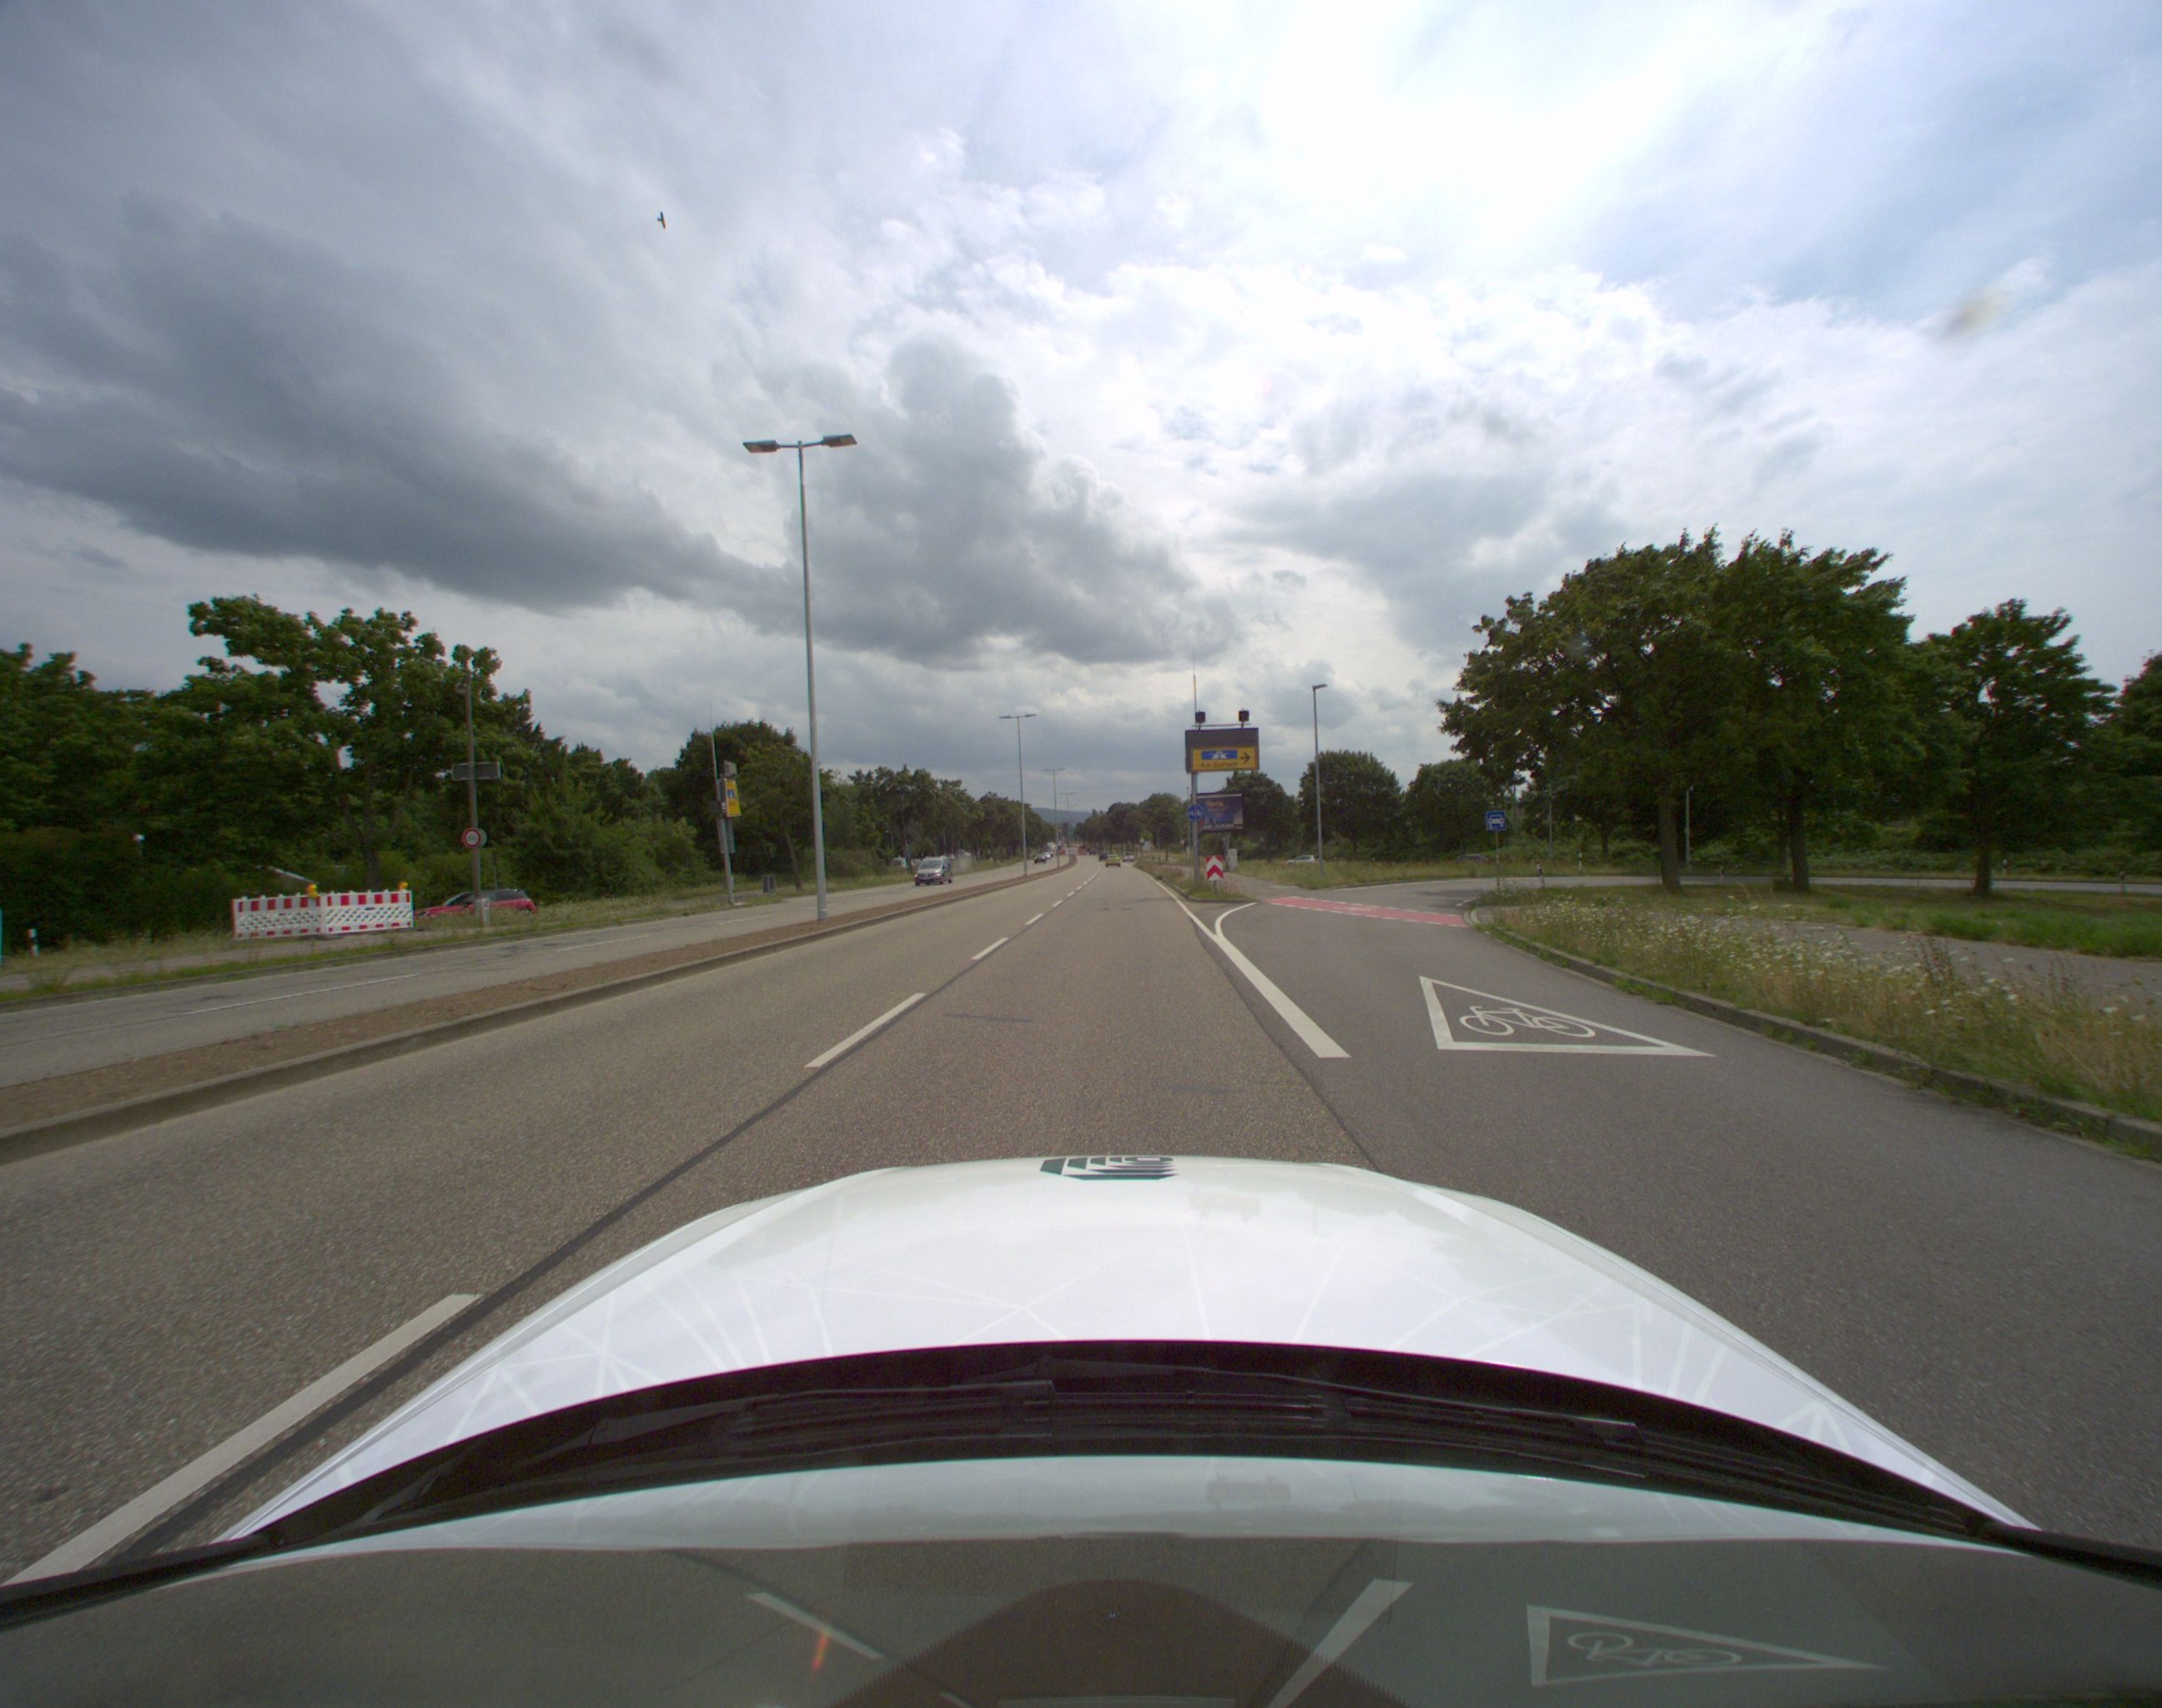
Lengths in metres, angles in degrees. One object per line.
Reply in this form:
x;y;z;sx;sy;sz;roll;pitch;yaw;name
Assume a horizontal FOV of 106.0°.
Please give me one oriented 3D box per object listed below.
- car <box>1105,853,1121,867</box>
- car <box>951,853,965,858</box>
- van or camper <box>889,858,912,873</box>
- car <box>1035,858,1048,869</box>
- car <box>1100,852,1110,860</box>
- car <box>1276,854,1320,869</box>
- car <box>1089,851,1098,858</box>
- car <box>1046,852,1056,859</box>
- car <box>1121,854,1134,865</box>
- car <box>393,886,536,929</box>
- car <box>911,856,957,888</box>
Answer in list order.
3.849;0.702;98.640;1.787;1.562;4.001;-2;1;1;car
-36.014;0.442;237.828;3.759;1.425;1.967;-2;1;1;car
-32.189;2.032;145.662;2.463;2.540;6.721;-2;1;0;van or camper
-7.210;1.722;148.432;1.987;1.811;4.799;-3;1;1;car
4.227;0.340;144.816;1.661;1.269;4.001;-2;1;1;car
22.357;0.749;84.013;3.949;1.464;1.783;-1;1;43;car
3.365;0.226;221.001;2.198;1.683;4.002;-2;1;2;car
-6.695;0.297;182.222;1.986;1.430;4.691;-3;0;2;car
7.903;0.931;137.870;2.007;1.670;4.001;-2;1;1;car
-22.179;1.880;29.469;1.391;1.244;3.913;-1;0;24;car
-9.419;1.110;52.597;1.895;1.809;4.542;-2;1;2;car
